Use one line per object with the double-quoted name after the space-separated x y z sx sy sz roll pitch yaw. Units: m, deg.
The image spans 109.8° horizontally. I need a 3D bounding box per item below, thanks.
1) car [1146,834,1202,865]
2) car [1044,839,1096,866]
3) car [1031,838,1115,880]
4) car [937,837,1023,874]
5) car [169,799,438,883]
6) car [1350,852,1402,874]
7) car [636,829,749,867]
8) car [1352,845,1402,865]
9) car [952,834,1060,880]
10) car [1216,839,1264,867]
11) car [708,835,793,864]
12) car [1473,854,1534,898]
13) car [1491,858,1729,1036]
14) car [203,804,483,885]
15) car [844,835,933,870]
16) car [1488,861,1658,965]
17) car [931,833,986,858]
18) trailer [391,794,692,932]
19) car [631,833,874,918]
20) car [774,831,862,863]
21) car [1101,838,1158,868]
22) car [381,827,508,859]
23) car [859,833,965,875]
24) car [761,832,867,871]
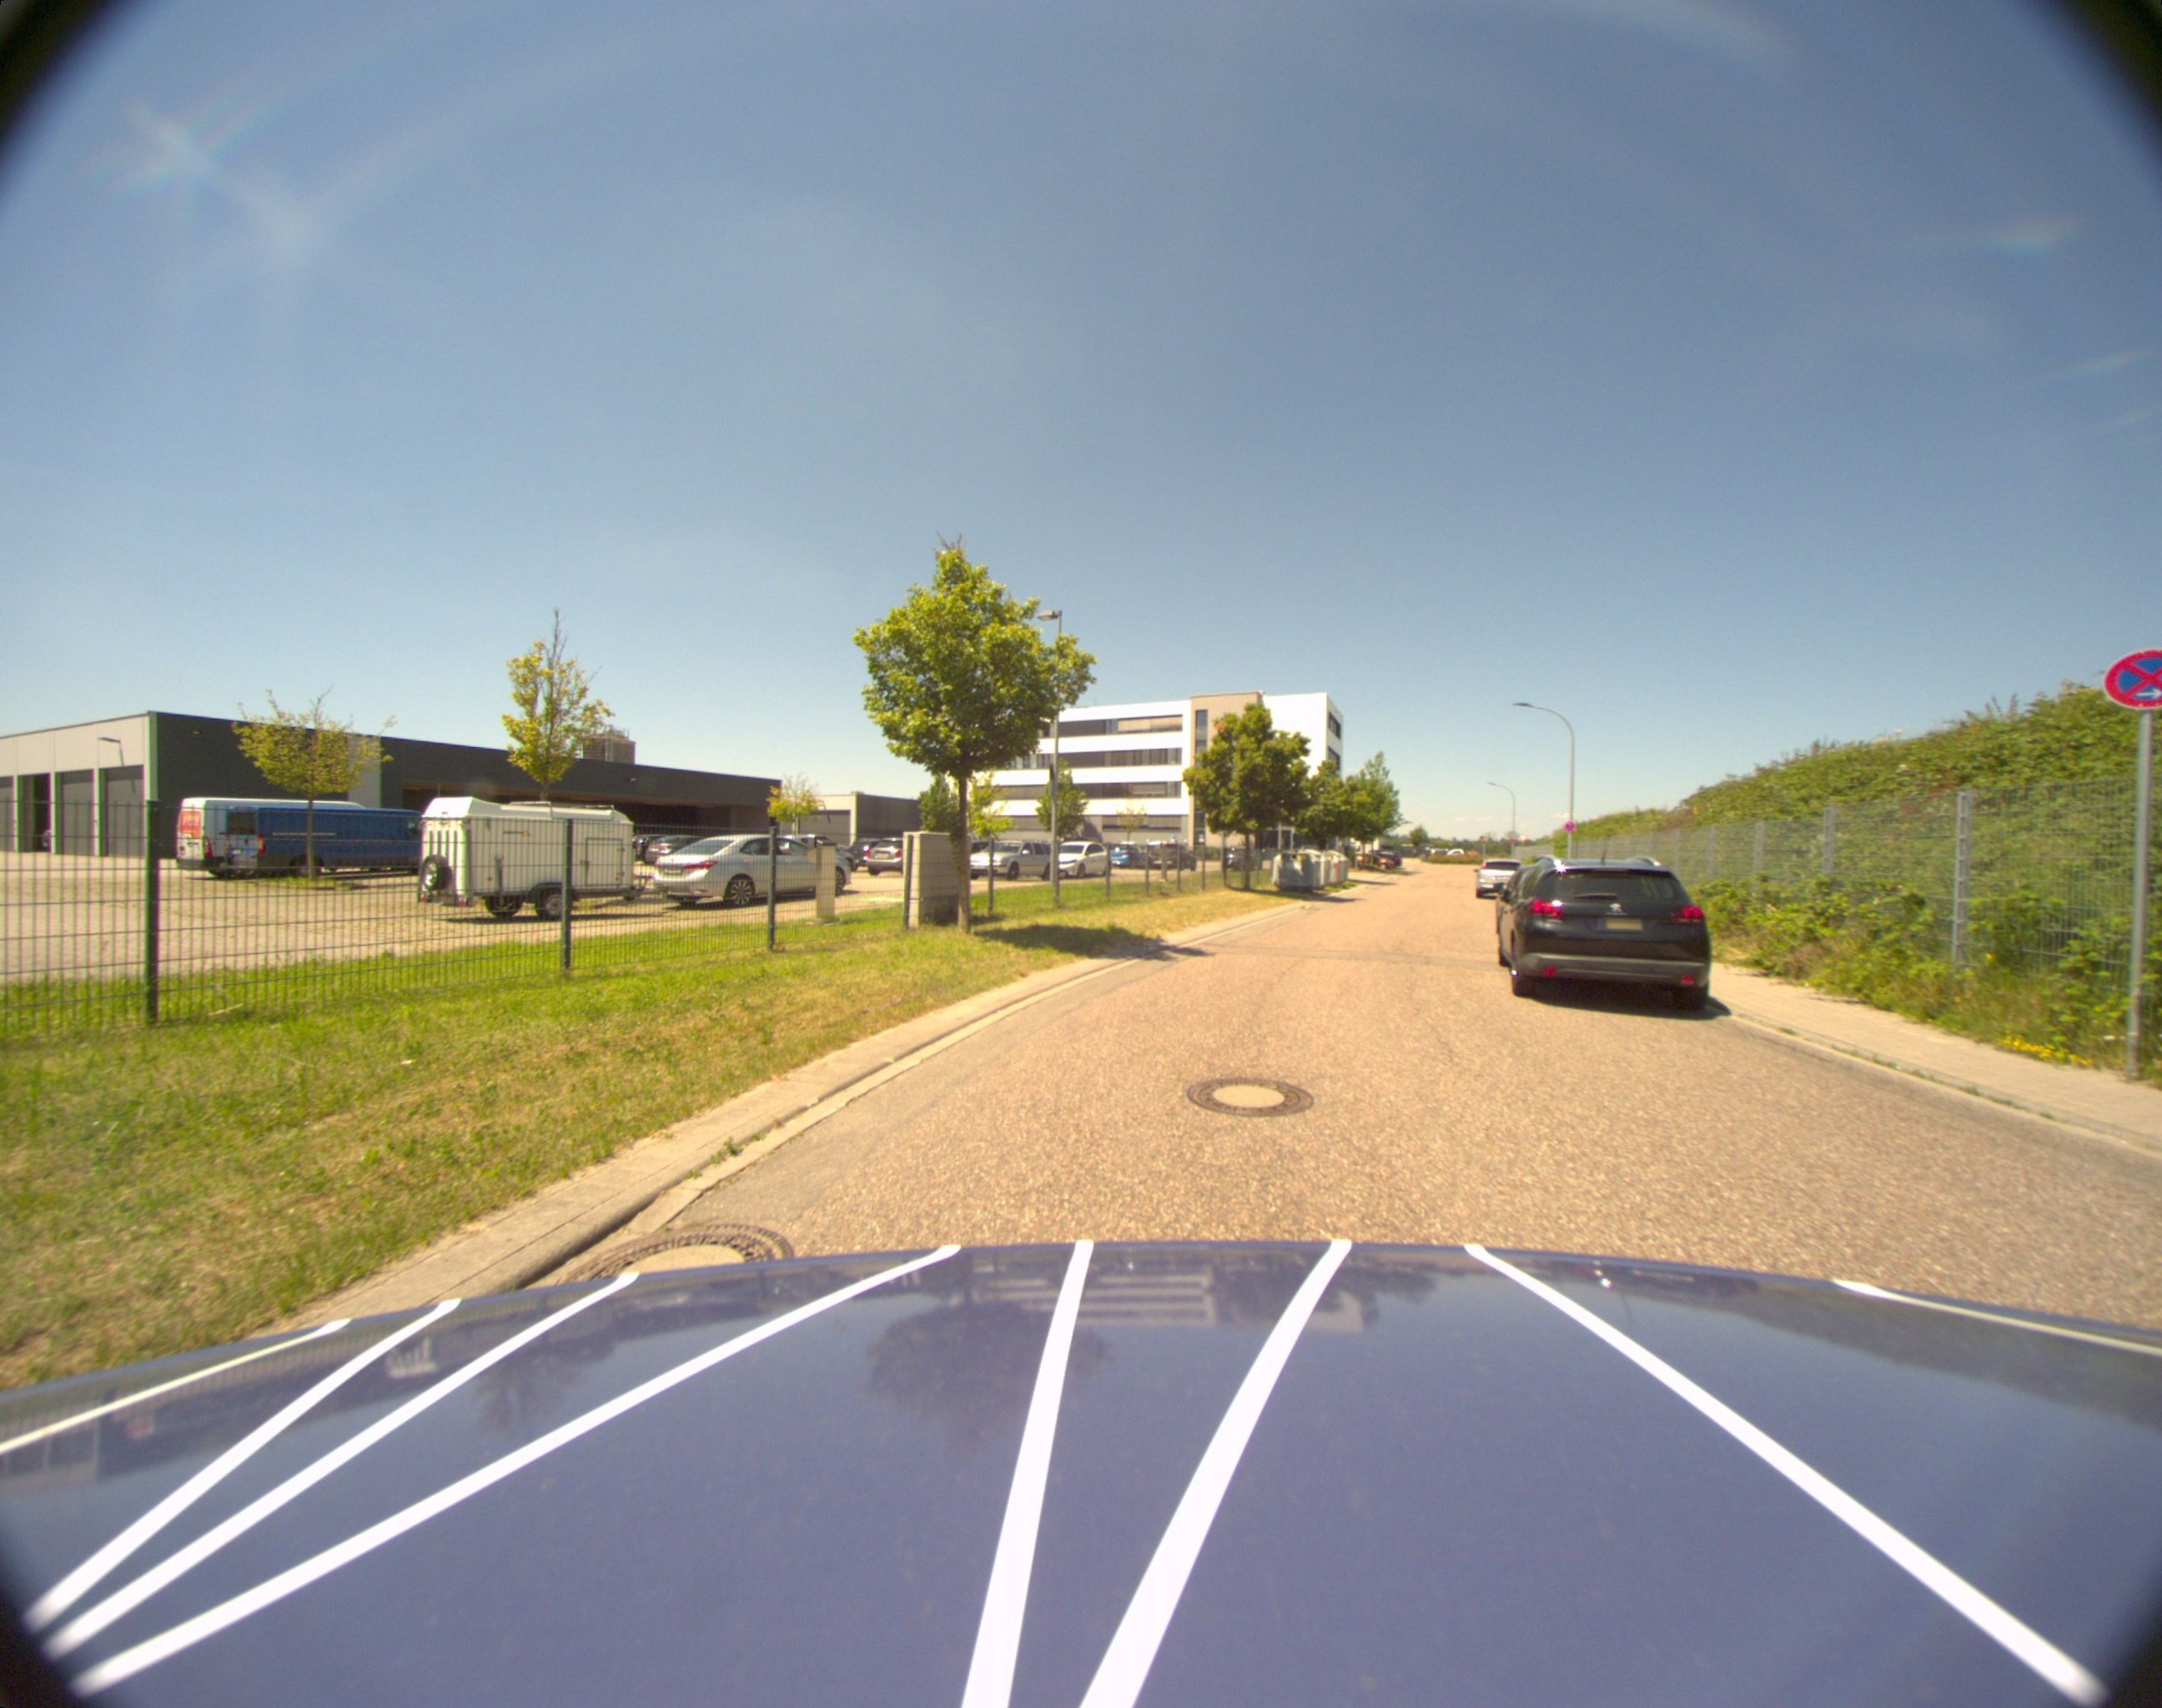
5.159 -0.248 41.698 1.827 1.565 3.932 2 1 26 "car"
-0.724 -0.072 51.891 1.828 1.634 3.934 -1 -3 28 "car"
-0.255 0.152 31.520 1.850 1.491 3.931 1 3 28 "car"
-4.429 0.069 33.806 1.850 1.490 3.932 2 1 26 "car"
-25.279 -0.535 25.091 2.191 2.444 5.686 0 3 24 "car"
25.119 0.759 64.692 3.990 1.693 1.894 -1 1 26 "car"
-17.646 -0.289 34.740 1.962 1.622 4.261 1 1 28 "car"
26.050 0.122 66.833 3.990 1.631 1.894 -1 1 26 "car"
-2.515 0.163 26.669 1.850 1.489 4.298 0 -2 25 "car"
9.452 -0.020 45.049 1.828 1.445 3.934 -1 -3 26 "car"
-17.875 -0.246 41.256 1.850 1.490 3.932 1 1 28 "car"
16.086 0.778 28.978 1.850 1.511 3.955 2 1 29 "car"
6.035 0.863 9.166 1.655 1.546 4.140 2 1 26 "car"
-22.826 -0.442 23.934 2.138 2.213 5.840 2 4 25 "car"
-8.921 -0.081 35.468 1.850 1.490 3.932 1 1 28 "car"
8.565 0.898 13.634 1.936 1.446 4.289 2 1 25 "car"
-8.601 -0.581 53.729 1.828 1.527 3.934 -2 -3 28 "car"
-9.020 0.164 13.050 1.850 1.987 3.746 1 -1 27 "trailer"
-7.047 0.338 16.968 1.850 1.491 4.863 0 3 27 "car"
-13.084 -0.382 38.057 1.850 1.491 3.931 1 3 28 "car"
2.761 -0.006 42.728 1.828 1.445 3.934 -1 -3 26 "car"
-32.506 -0.529 38.956 1.850 1.490 4.615 2 1 26 "car"
-6.396 -0.021 29.100 1.850 1.490 3.932 1 1 28 "car"
-10.972 -0.111 31.495 1.850 1.490 3.932 1 1 28 "car"
